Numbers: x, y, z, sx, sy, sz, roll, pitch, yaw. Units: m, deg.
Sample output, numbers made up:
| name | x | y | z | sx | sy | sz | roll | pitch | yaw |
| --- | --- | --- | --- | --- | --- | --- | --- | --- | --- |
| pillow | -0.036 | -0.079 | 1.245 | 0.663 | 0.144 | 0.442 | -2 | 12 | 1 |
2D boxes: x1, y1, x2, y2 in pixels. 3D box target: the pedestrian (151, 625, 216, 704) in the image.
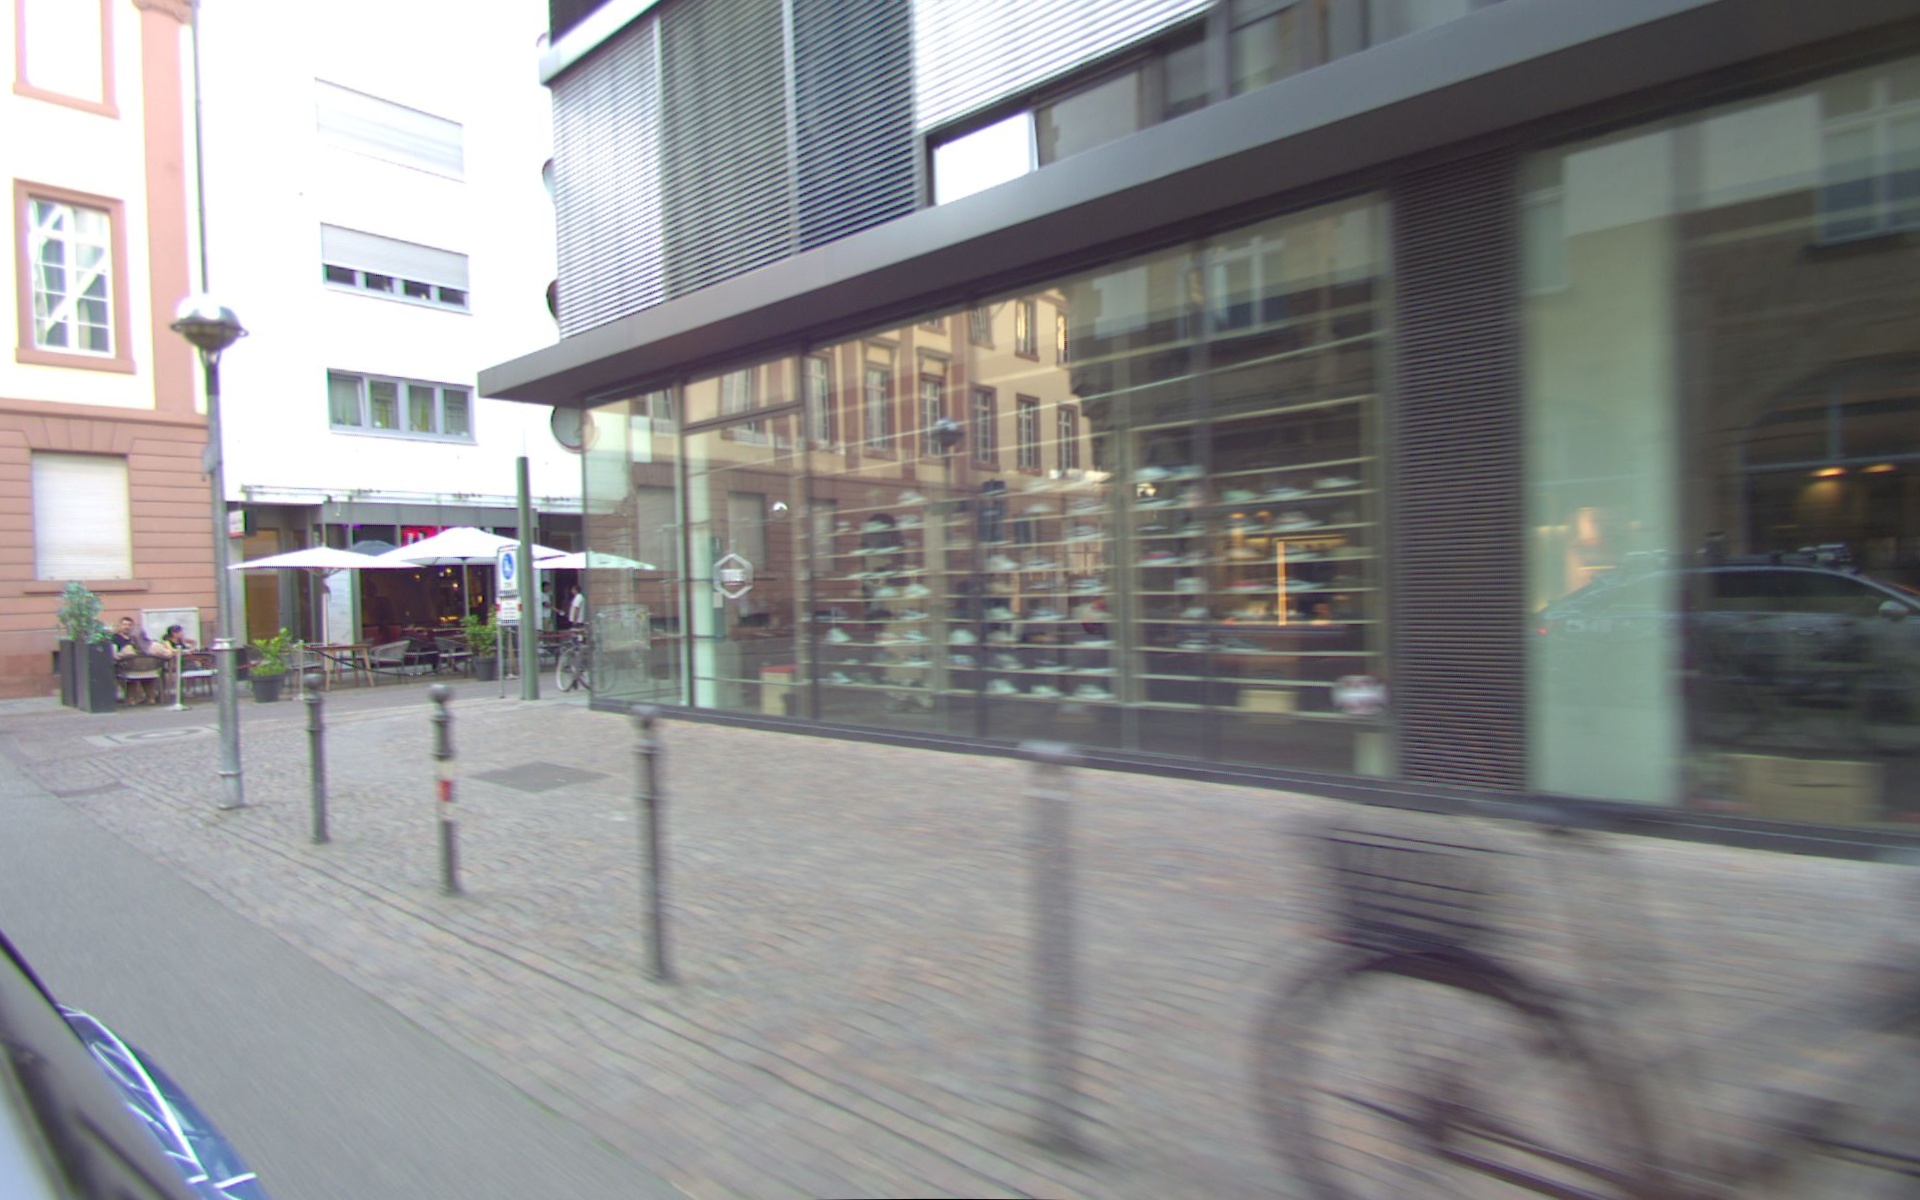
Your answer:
| name | x | y | z | sx | sy | sz | roll | pitch | yaw |
| --- | --- | --- | --- | --- | --- | --- | --- | --- | --- |
| pedestrian | -12.698 | 1.035 | 16.551 | 0.792 | 1.192 | 0.665 | 1 | 2 | 39 |

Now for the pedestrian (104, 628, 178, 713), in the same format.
| name | x | y | z | sx | sy | sz | roll | pitch | yaw |
| --- | --- | --- | --- | --- | --- | --- | --- | --- | --- |
| pedestrian | -12.419 | 1.044 | 15.349 | 0.791 | 1.192 | 0.666 | 0 | 2 | 35 |

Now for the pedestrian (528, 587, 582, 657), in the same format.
| name | x | y | z | sx | sy | sz | roll | pitch | yaw |
| --- | --- | --- | --- | --- | --- | --- | --- | --- | --- |
| pedestrian | -9.833 | 0.528 | 24.563 | 0.853 | 1.671 | 0.794 | -2 | 1 | 24 |

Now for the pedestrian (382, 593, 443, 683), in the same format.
| name | x | y | z | sx | sy | sz | roll | pitch | yaw |
| --- | --- | --- | --- | --- | --- | --- | --- | --- | --- |
| pedestrian | -10.583 | 0.722 | 19.562 | 0.791 | 1.661 | 0.717 | -2 | 1 | 35 |

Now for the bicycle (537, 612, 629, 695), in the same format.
| name | x | y | z | sx | sy | sz | roll | pitch | yaw |
| --- | --- | --- | --- | --- | --- | --- | --- | --- | --- |
| bicycle | -5.603 | 0.802 | 15.003 | 1.701 | 1.145 | 0.461 | -4 | -1 | 40 |

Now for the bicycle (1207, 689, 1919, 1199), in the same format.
| name | x | y | z | sx | sy | sz | roll | pitch | yaw |
| --- | --- | --- | --- | --- | --- | --- | --- | --- | --- |
| bicycle | 1.401 | 0.767 | 1.622 | 1.928 | 1.141 | 0.406 | -1 | 1 | 37 |

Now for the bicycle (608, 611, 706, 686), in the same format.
| name | x | y | z | sx | sy | sz | roll | pitch | yaw |
| --- | --- | --- | --- | --- | --- | --- | --- | --- | --- |
| bicycle | -4.949 | 0.803 | 16.469 | 2.014 | 1.130 | 0.461 | -4 | -1 | 40 |

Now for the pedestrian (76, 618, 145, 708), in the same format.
| name | x | y | z | sx | sy | sz | roll | pitch | yaw |
| --- | --- | --- | --- | --- | --- | --- | --- | --- | --- |
| pedestrian | -13.459 | 0.974 | 16.035 | 0.792 | 1.341 | 0.665 | 1 | 2 | 39 |
